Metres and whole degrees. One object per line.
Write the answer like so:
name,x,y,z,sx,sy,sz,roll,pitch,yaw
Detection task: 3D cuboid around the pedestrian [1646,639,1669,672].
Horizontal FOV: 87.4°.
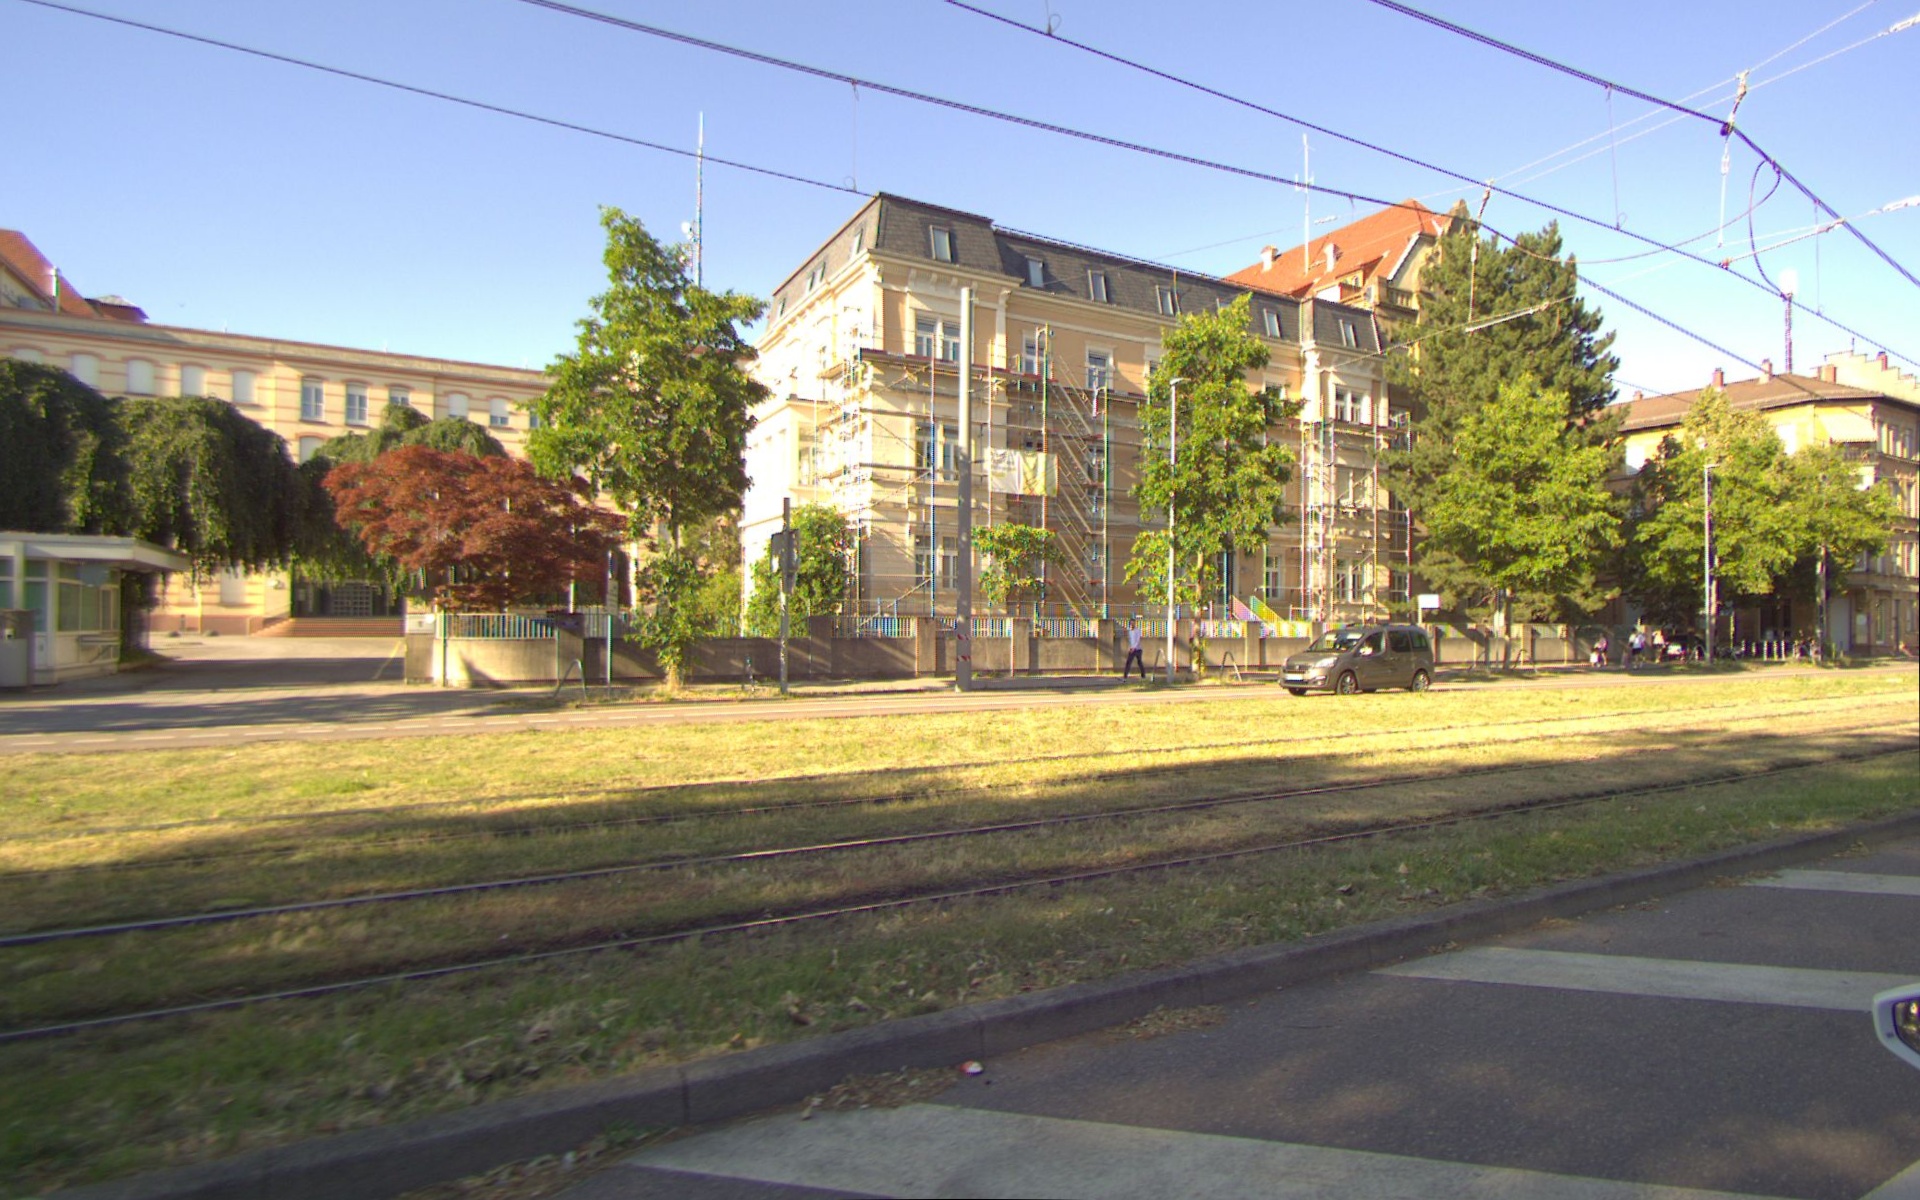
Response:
pedestrian,34.908,2.761,50.275,0.788,1.614,0.615,1,1,-31

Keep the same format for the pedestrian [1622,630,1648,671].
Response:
pedestrian,29.869,2.221,44.448,0.878,1.798,0.647,1,-2,-30

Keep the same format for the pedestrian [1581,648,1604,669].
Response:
pedestrian,28.193,2.598,44.764,0.578,0.944,0.646,1,-3,-32

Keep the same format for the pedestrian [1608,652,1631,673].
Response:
pedestrian,29.721,2.822,45.276,0.577,0.944,0.648,1,-2,-24

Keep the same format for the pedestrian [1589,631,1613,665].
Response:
pedestrian,29.851,2.250,46.800,0.774,1.559,0.647,1,-2,-30

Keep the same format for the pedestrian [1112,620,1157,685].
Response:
pedestrian,5.351,1.608,30.797,1.074,1.953,0.854,1,-2,-30

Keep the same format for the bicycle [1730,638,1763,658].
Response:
bicycle,50.108,3.040,63.977,2.212,1.194,0.782,1,1,-28

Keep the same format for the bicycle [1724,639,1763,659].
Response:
bicycle,48.939,3.050,62.761,2.205,1.194,0.785,2,1,-18

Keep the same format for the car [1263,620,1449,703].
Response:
car,10.088,1.530,25.544,4.413,1.944,1.933,1,-1,-26

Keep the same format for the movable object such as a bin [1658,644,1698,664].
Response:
movable object such as a bin,35.967,2.704,50.328,1.223,0.876,1.238,2,0,-31

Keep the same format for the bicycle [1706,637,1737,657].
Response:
bicycle,48.486,2.993,63.918,2.215,1.194,0.781,1,1,-31

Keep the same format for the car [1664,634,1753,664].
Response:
car,42.754,2.786,57.494,1.960,1.491,4.192,2,-1,0

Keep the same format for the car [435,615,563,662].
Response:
car,-15.410,1.281,33.617,3.804,1.426,1.599,1,0,-29
